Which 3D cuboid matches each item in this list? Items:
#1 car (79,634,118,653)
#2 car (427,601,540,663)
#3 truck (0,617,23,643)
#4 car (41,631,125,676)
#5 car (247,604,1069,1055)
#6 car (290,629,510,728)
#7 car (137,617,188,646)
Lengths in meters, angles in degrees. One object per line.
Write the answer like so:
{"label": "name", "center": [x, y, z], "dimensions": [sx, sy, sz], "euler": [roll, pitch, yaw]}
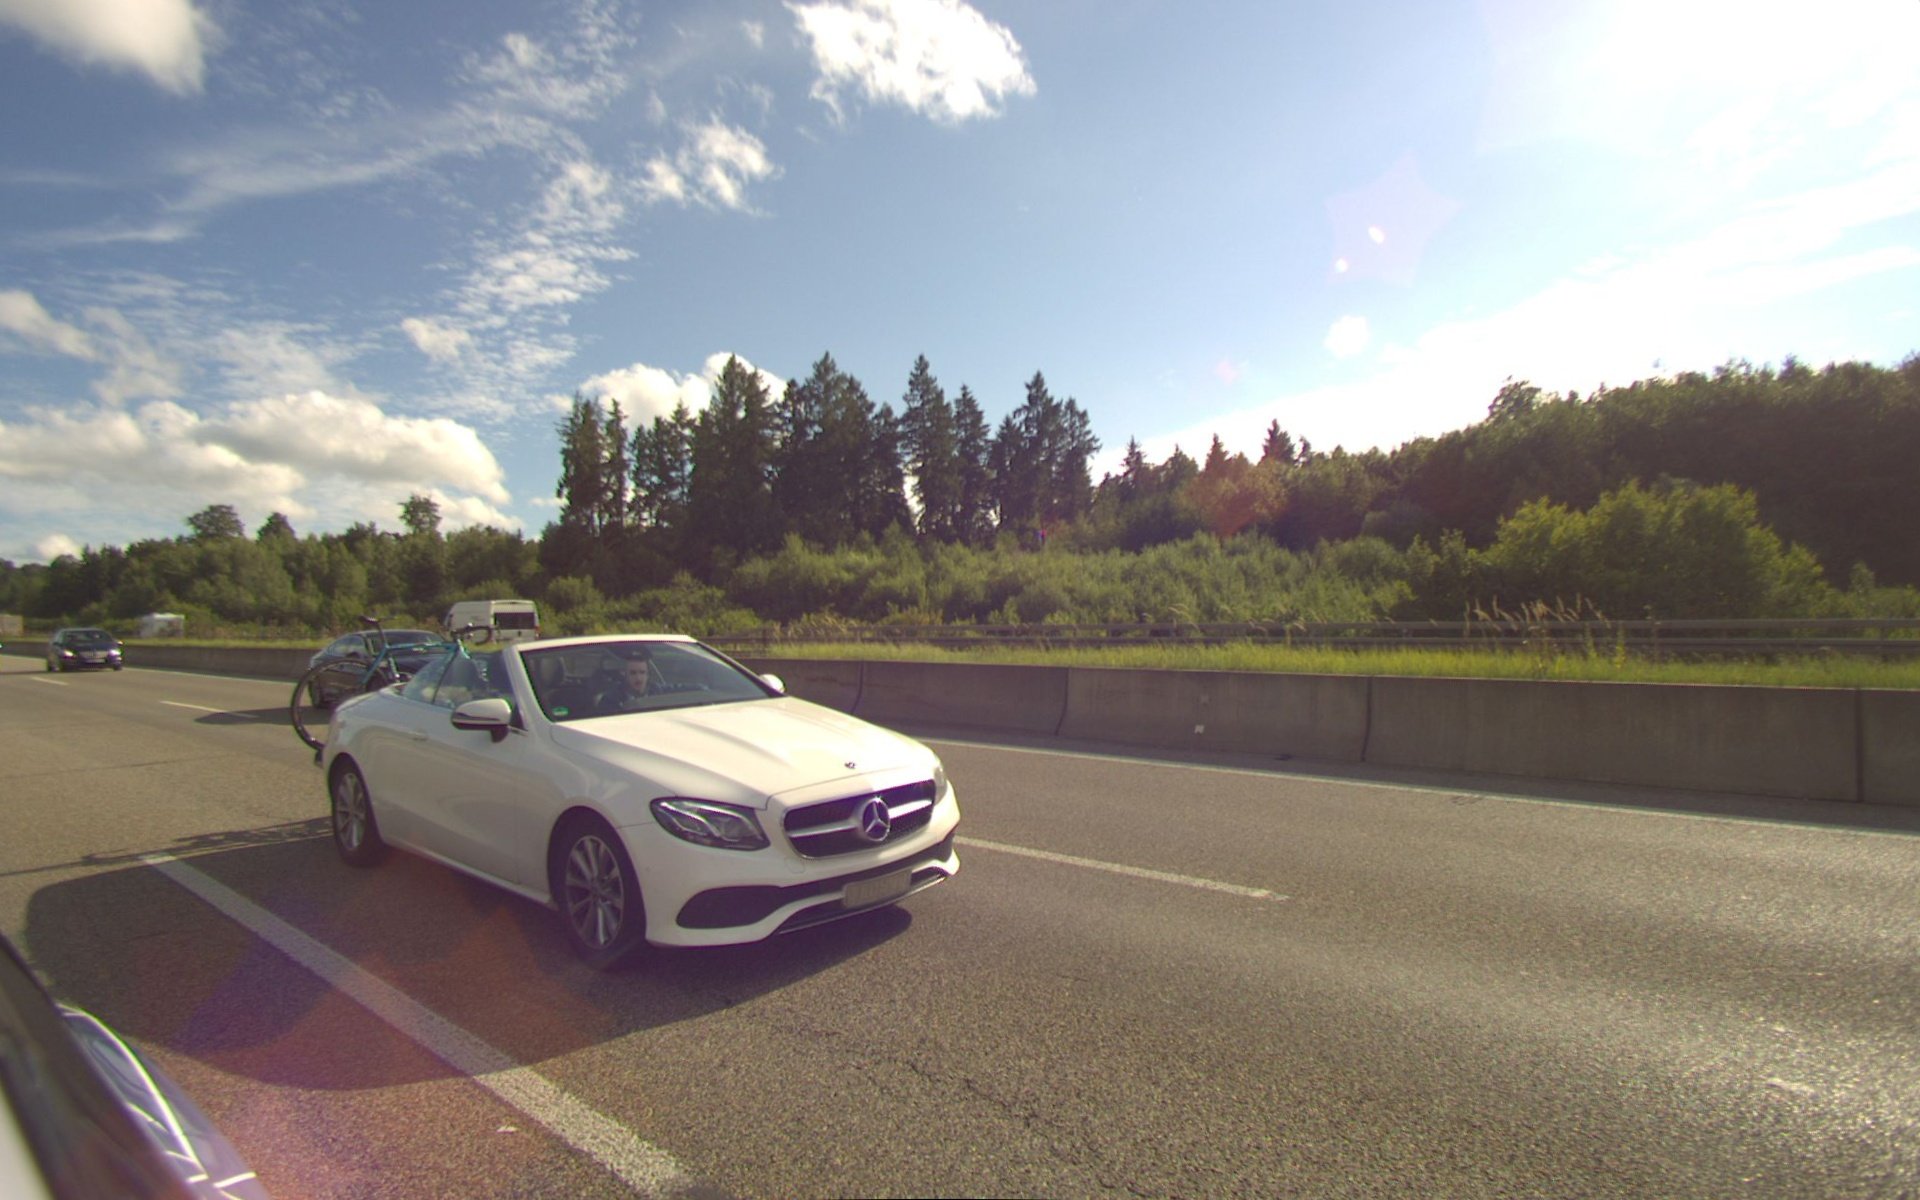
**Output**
{"label": "car", "center": [-68.377, 3.443, 80.354], "dimensions": [3.998, 1.431, 1.800], "euler": [-2, -2, 41]}
{"label": "car", "center": [-19.412, 1.288, 41.127], "dimensions": [5.443, 2.292, 2.075], "euler": [-2, 1, 41]}
{"label": "truck", "center": [-148.091, 4.649, 156.551], "dimensions": [11.734, 3.932, 3.281], "euler": [-2, -1, 41]}
{"label": "car", "center": [-32.678, 1.959, 37.662], "dimensions": [4.331, 1.529, 1.816], "euler": [-2, -1, 42]}
{"label": "car", "center": [-2.288, 0.851, 6.095], "dimensions": [5.734, 1.511, 2.038], "euler": [-2, -1, 42]}
{"label": "car", "center": [-9.791, 1.258, 17.503], "dimensions": [4.839, 1.442, 1.836], "euler": [-2, -1, 42]}
{"label": "car", "center": [-72.985, 2.887, 92.564], "dimensions": [5.842, 2.494, 2.518], "euler": [-2, 1, 41]}
